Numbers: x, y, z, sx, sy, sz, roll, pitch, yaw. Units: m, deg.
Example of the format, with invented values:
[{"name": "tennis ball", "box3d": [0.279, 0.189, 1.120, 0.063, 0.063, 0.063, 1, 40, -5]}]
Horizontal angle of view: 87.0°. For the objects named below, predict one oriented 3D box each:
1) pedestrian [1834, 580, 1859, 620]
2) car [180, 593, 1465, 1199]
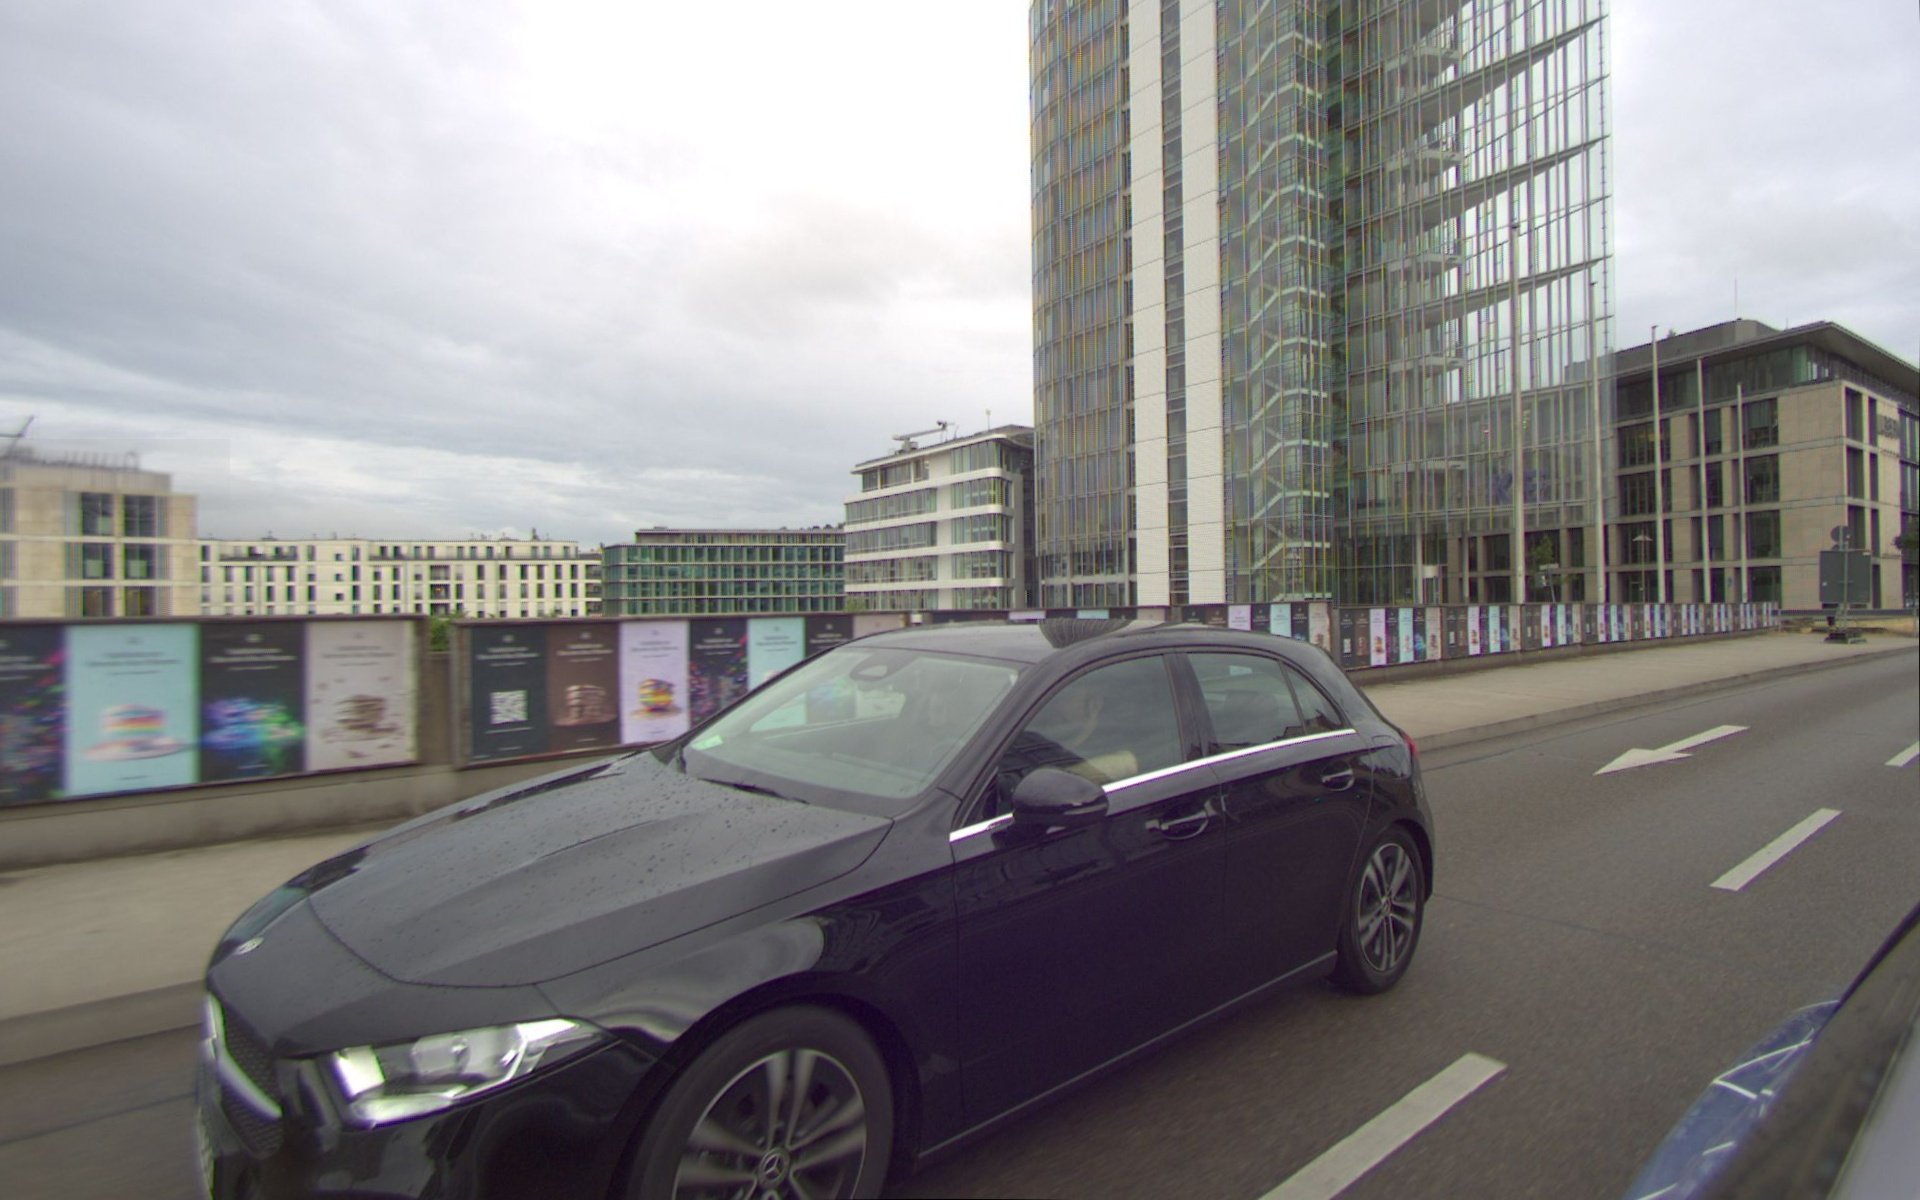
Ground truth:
[{"name": "pedestrian", "box3d": [36.639, 0.010, 41.837, 0.537, 1.631, 0.660, 0, -1, -36]}, {"name": "car", "box3d": [-0.020, 0.715, 3.453, 4.084, 1.393, 1.726, -2, 1, -41]}]
